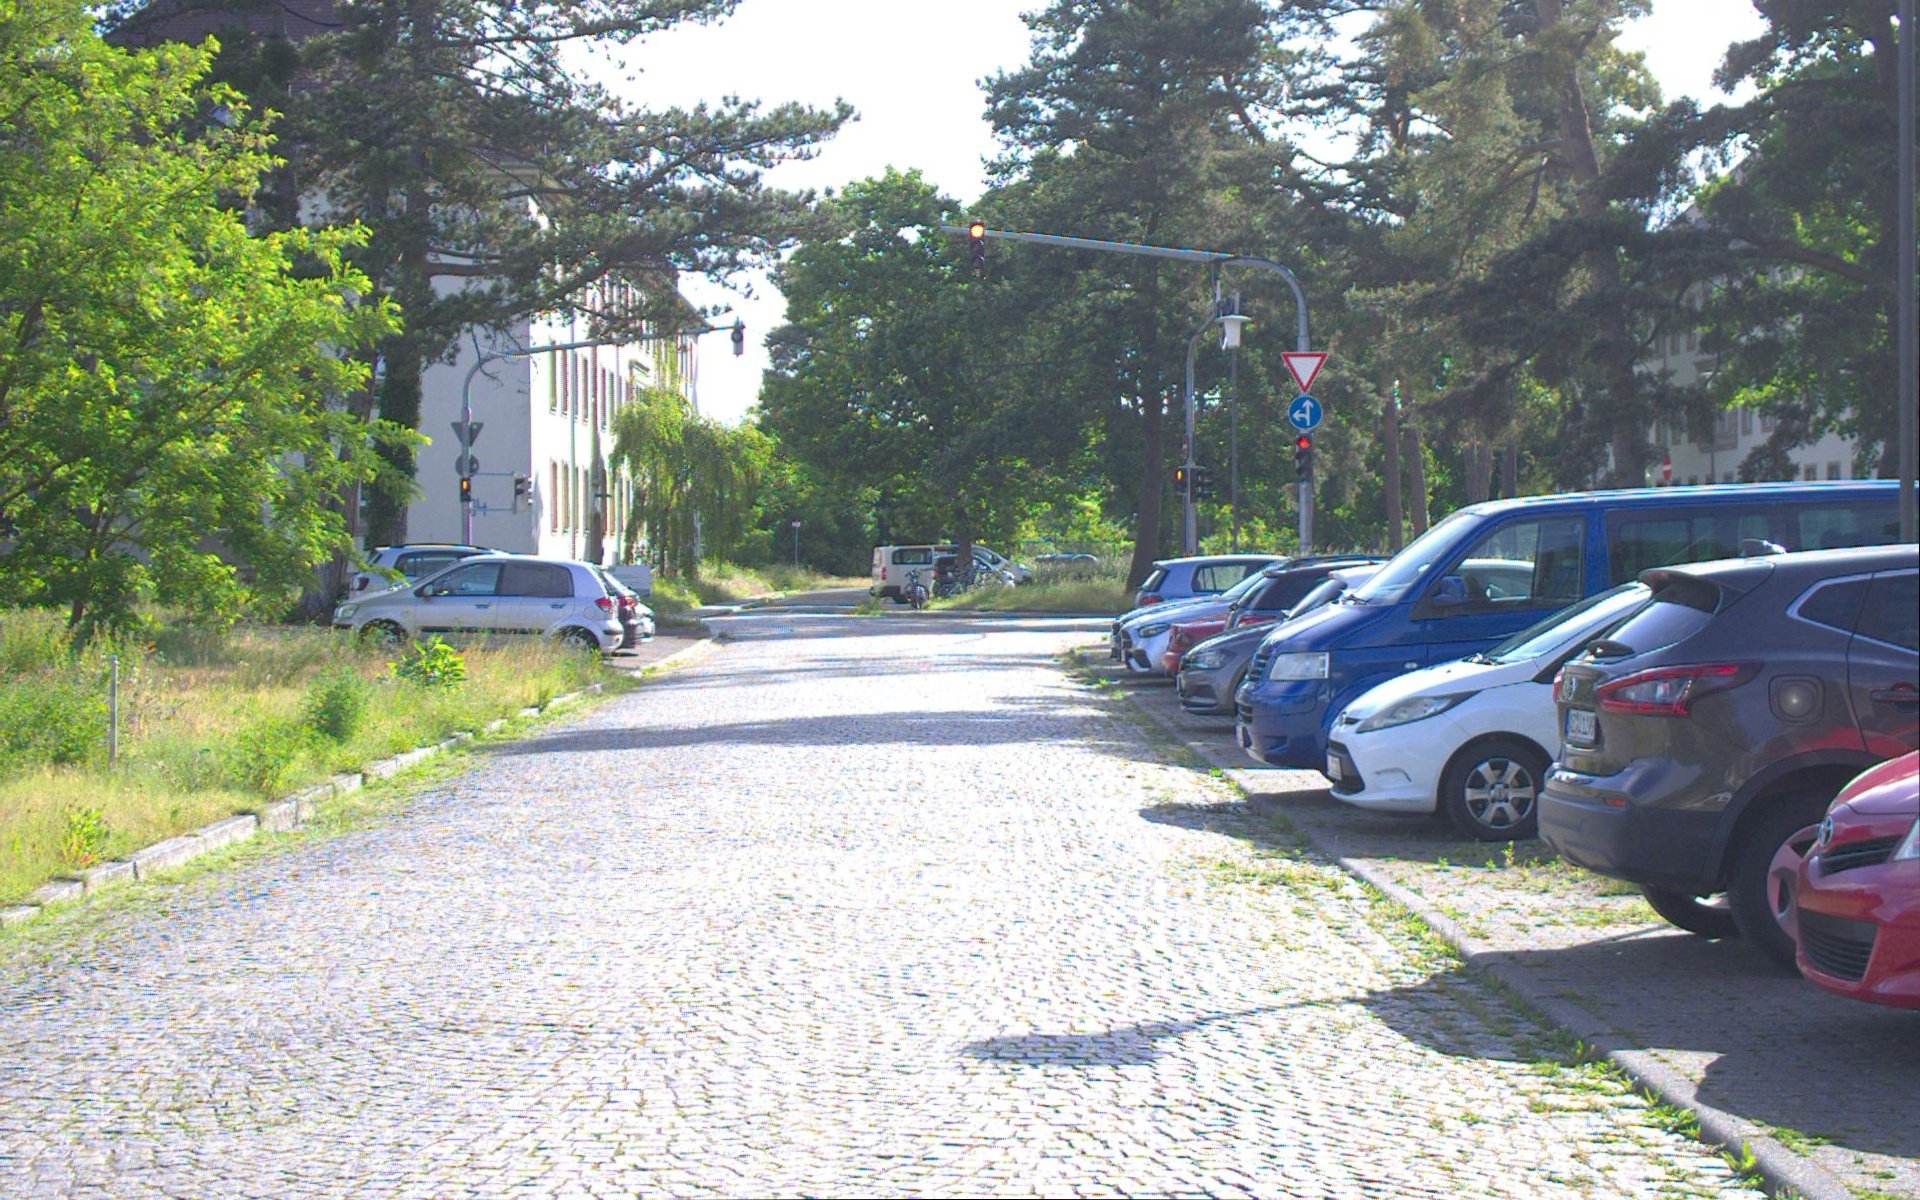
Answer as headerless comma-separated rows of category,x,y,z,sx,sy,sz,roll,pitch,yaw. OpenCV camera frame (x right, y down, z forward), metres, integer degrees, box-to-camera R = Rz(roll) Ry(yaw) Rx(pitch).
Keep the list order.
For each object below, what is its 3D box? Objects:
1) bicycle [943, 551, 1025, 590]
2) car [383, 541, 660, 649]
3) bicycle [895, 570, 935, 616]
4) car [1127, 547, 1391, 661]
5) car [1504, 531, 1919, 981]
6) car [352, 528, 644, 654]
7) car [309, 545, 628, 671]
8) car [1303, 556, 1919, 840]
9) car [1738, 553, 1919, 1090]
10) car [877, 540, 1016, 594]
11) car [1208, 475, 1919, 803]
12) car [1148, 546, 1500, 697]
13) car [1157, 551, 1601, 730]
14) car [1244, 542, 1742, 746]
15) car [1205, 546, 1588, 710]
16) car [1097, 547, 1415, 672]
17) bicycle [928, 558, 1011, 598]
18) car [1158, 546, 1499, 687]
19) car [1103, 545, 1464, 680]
bicycle,0.667,-0.826,96.478,2.172,1.096,0.807,0,1,-10
car,-6.718,-0.086,53.035,3.987,1.448,2.000,3,1,-1
bicycle,-1.202,-0.184,91.572,0.804,1.165,2.181,-2,1,-6
car,3.972,0.040,46.046,3.343,1.477,1.645,0,1,-2
car,4.234,0.538,13.323,3.935,1.616,1.772,0,1,-2
car,-6.760,-0.147,50.633,3.987,1.596,2.000,3,1,-1
car,-6.413,0.084,45.246,3.986,1.595,2.000,0,1,-3
car,3.951,0.524,19.742,3.718,1.483,1.646,-1,1,-3
car,4.486,0.613,10.658,3.762,1.525,1.645,0,1,-1
car,-0.457,-1.081,112.498,4.480,1.722,2.000,0,1,-1
car,4.084,0.218,22.418,4.676,2.007,2.084,0,1,-3
car,3.785,0.207,36.095,3.478,1.524,1.645,0,1,-2
car,3.667,0.333,30.485,3.675,1.462,1.645,-1,1,-2
car,4.219,0.331,27.598,3.694,1.461,1.645,-2,1,0
car,4.200,0.252,33.404,3.478,1.524,1.645,0,1,-2
car,3.701,0.108,43.406,3.835,1.524,1.645,0,1,-2
bicycle,0.258,-0.610,95.031,2.172,1.096,0.807,0,1,-10
car,4.098,0.164,38.556,3.602,1.524,1.645,0,1,-2
car,3.786,0.131,40.634,4.033,1.524,1.646,0,1,-4
